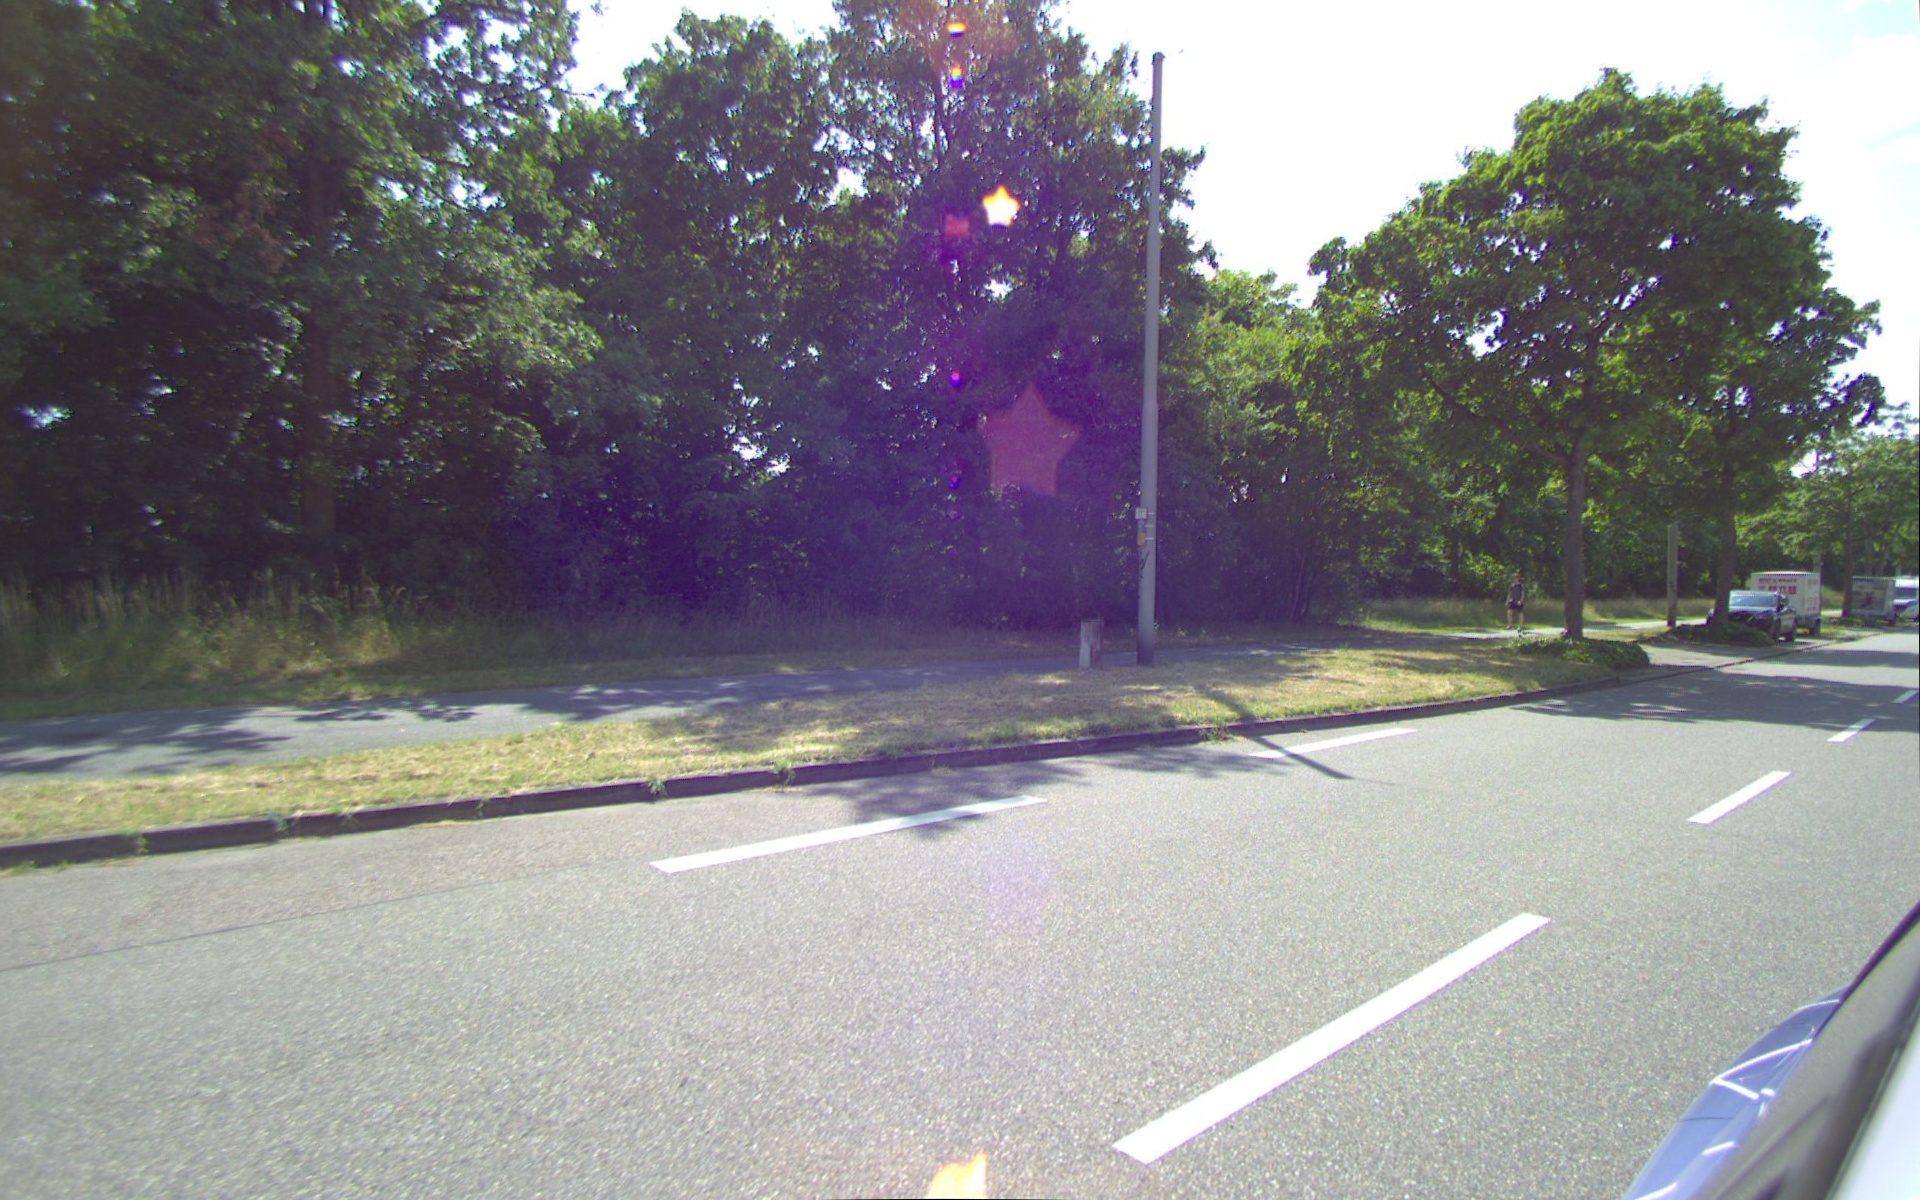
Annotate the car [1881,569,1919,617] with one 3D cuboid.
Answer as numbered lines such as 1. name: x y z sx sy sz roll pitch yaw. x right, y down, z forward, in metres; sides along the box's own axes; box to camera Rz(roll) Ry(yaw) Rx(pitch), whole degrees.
1. car: 56.381 -0.449 59.896 6.046 2.729 2.178 -1 0 -42

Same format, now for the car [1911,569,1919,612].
1. car: 66.399 -0.608 68.489 6.653 2.836 2.261 -1 4 -42

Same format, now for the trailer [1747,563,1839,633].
1. trailer: 30.621 -0.124 37.160 4.528 2.380 1.955 -1 3 -43

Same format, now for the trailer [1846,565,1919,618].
1. trailer: 46.098 -0.452 50.543 4.699 2.393 1.999 -1 6 -41

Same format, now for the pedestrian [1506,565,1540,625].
1. pedestrian: 17.583 -0.158 31.598 0.727 1.816 0.718 -1 0 -42

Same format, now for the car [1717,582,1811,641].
1. car: 26.076 0.316 32.786 4.286 1.711 1.594 -1 3 -41
